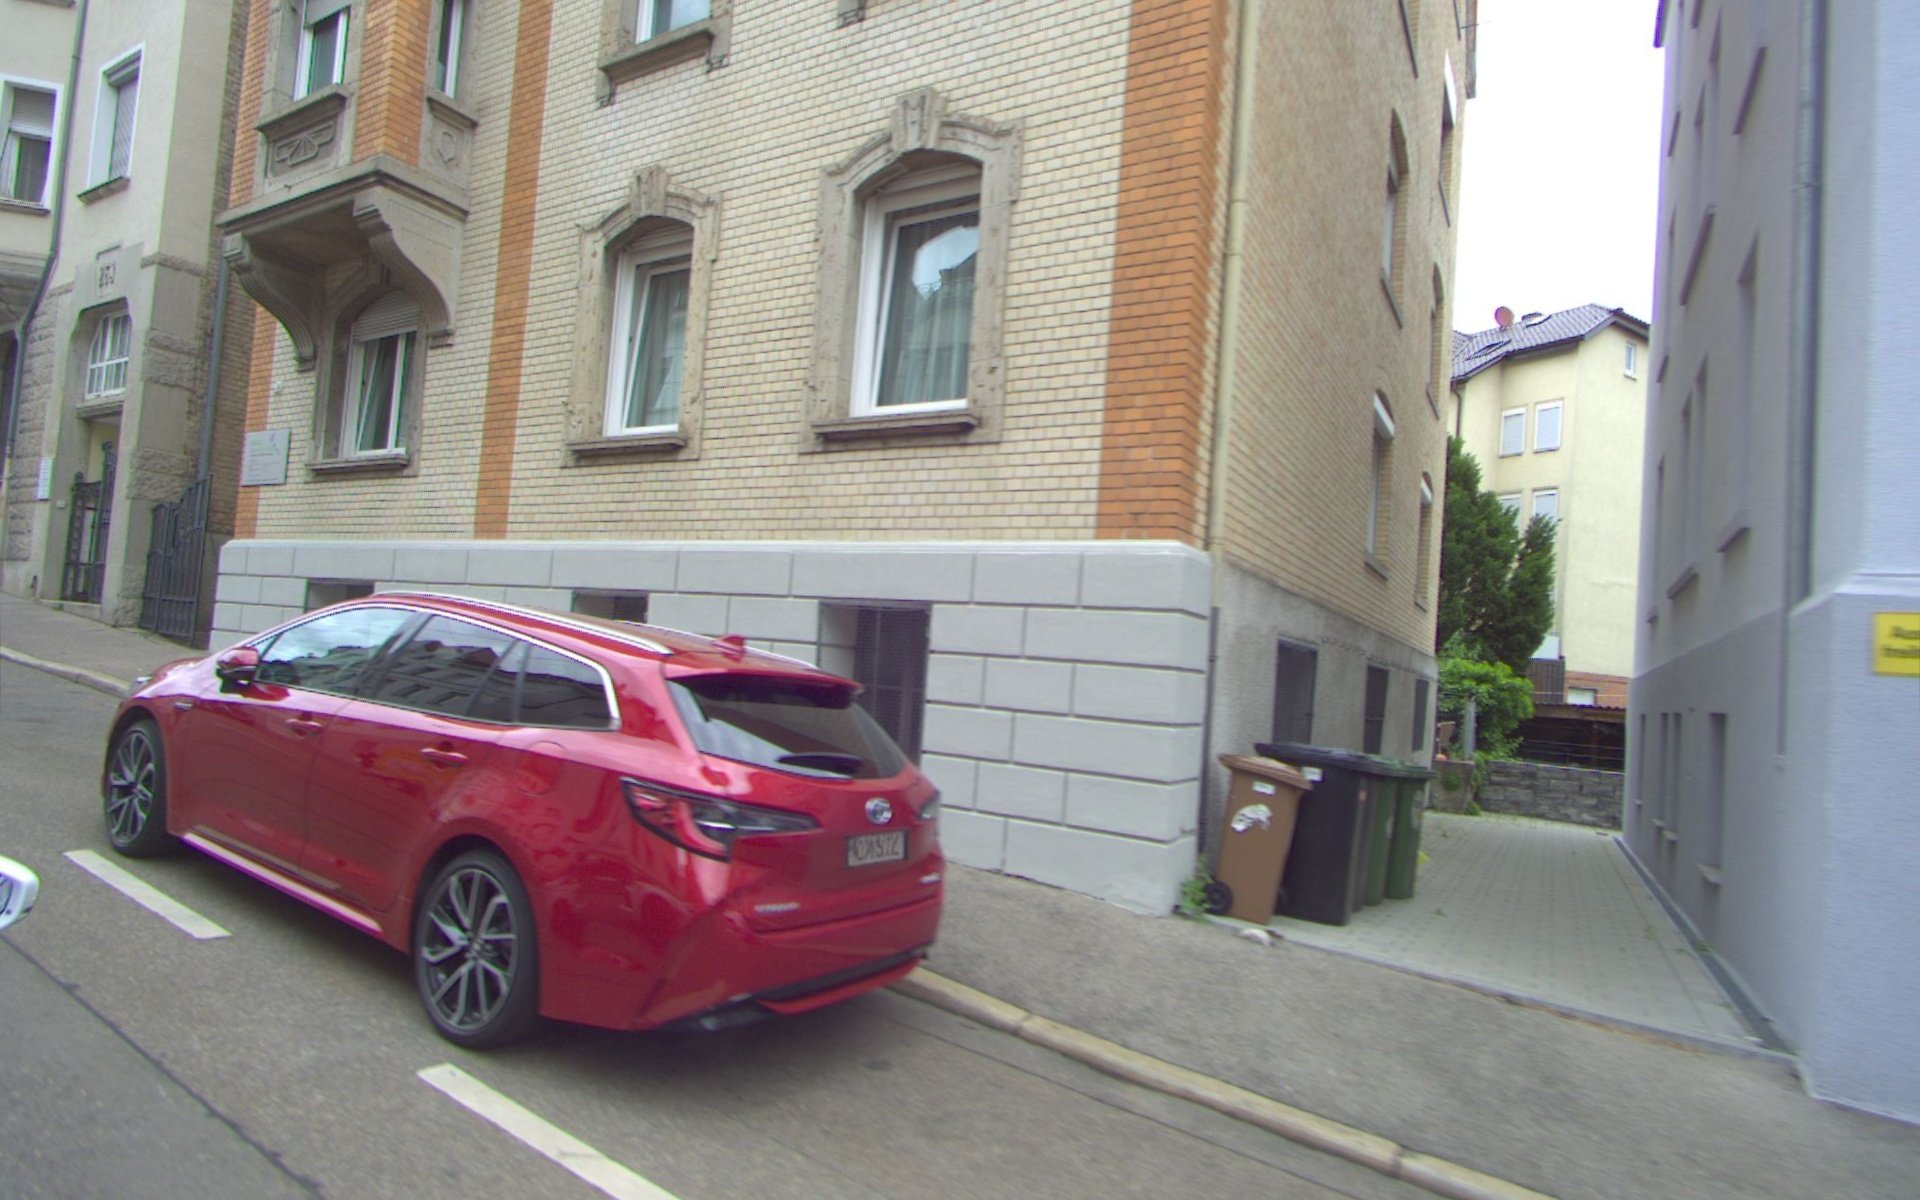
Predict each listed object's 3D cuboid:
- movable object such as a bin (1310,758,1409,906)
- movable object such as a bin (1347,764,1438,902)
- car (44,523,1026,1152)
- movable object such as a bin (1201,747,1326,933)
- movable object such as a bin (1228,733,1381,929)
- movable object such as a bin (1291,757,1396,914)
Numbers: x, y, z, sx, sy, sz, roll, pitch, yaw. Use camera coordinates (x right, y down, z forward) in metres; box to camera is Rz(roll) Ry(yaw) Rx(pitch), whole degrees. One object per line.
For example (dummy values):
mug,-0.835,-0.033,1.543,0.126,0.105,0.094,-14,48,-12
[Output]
movable object such as a bin,2.899,1.660,7.289,0.531,0.949,0.449,4,-6,31
movable object such as a bin,3.366,1.792,7.825,0.531,0.949,0.449,4,-6,31
car,-2.175,0.665,4.695,4.513,1.491,1.785,6,-4,32
movable object such as a bin,1.782,1.379,5.893,0.531,0.949,0.449,4,-6,31
movable object such as a bin,2.150,1.409,6.271,0.739,1.045,0.462,4,-6,31
movable object such as a bin,2.632,1.592,6.893,0.531,0.949,0.449,4,-6,31
